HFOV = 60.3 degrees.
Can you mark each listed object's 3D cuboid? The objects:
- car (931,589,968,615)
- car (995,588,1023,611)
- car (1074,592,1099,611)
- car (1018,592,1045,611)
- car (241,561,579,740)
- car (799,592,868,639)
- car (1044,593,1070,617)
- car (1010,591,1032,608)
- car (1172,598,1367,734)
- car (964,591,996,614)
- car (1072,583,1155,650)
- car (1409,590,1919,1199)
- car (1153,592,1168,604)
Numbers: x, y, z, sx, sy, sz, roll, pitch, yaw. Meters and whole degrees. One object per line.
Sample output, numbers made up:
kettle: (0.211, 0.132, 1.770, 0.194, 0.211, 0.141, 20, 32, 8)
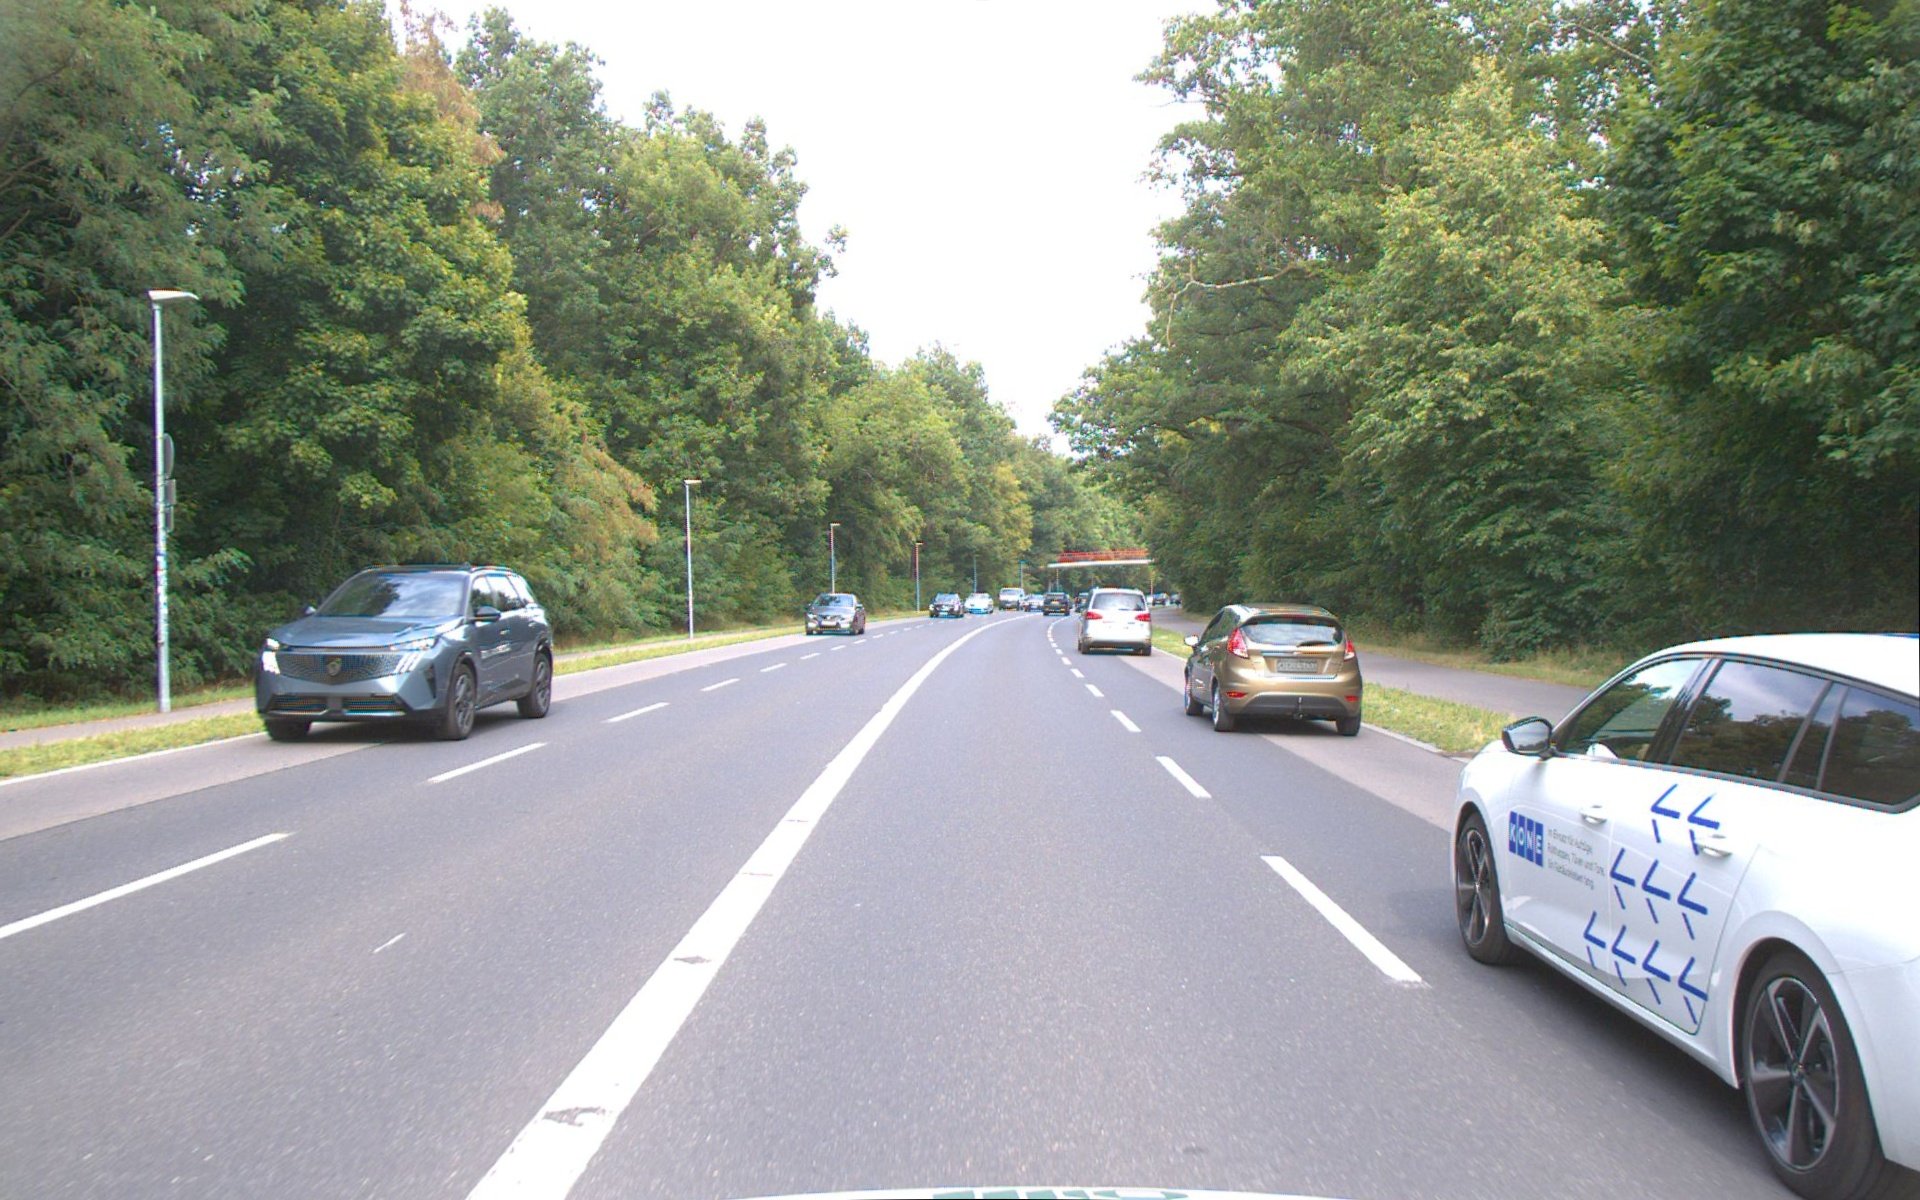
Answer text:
car: (-0.609, 0.134, 102.482, 1.841, 1.468, 4.406, 2, -1, 5)
car: (4.414, -0.021, 148.834, 1.951, 2.049, 5.057, 0, -1, 8)
car: (12.206, 0.127, 159.516, 1.951, 1.727, 4.003, 2, -1, 10)
car: (6.110, 0.110, 140.753, 1.621, 1.512, 3.869, 2, -1, 12)
car: (-5.641, 0.493, 17.678, 1.952, 1.645, 4.664, 0, -1, 1)
car: (-4.414, 0.544, 58.295, 1.857, 1.509, 4.539, 2, -1, 2)
car: (7.028, 0.393, 119.616, 1.693, 1.615, 4.002, 2, -1, 5)
car: (6.170, -0.061, 166.301, 1.845, 1.585, 4.521, 1, -1, 6)
car: (3.665, 0.749, 20.229, 1.602, 1.445, 4.000, 2, -1, 0)
car: (1.497, 0.193, 122.764, 1.951, 1.590, 4.606, 2, -1, 5)
car: (4.044, 0.437, 44.057, 1.952, 1.635, 4.001, 2, -1, 3)
car: (3.001, 0.699, 5.628, 1.798, 1.434, 4.491, 0, 1, 1)
car: (28.136, -0.270, 231.857, 1.951, 1.735, 4.004, 0, 0, 9)
